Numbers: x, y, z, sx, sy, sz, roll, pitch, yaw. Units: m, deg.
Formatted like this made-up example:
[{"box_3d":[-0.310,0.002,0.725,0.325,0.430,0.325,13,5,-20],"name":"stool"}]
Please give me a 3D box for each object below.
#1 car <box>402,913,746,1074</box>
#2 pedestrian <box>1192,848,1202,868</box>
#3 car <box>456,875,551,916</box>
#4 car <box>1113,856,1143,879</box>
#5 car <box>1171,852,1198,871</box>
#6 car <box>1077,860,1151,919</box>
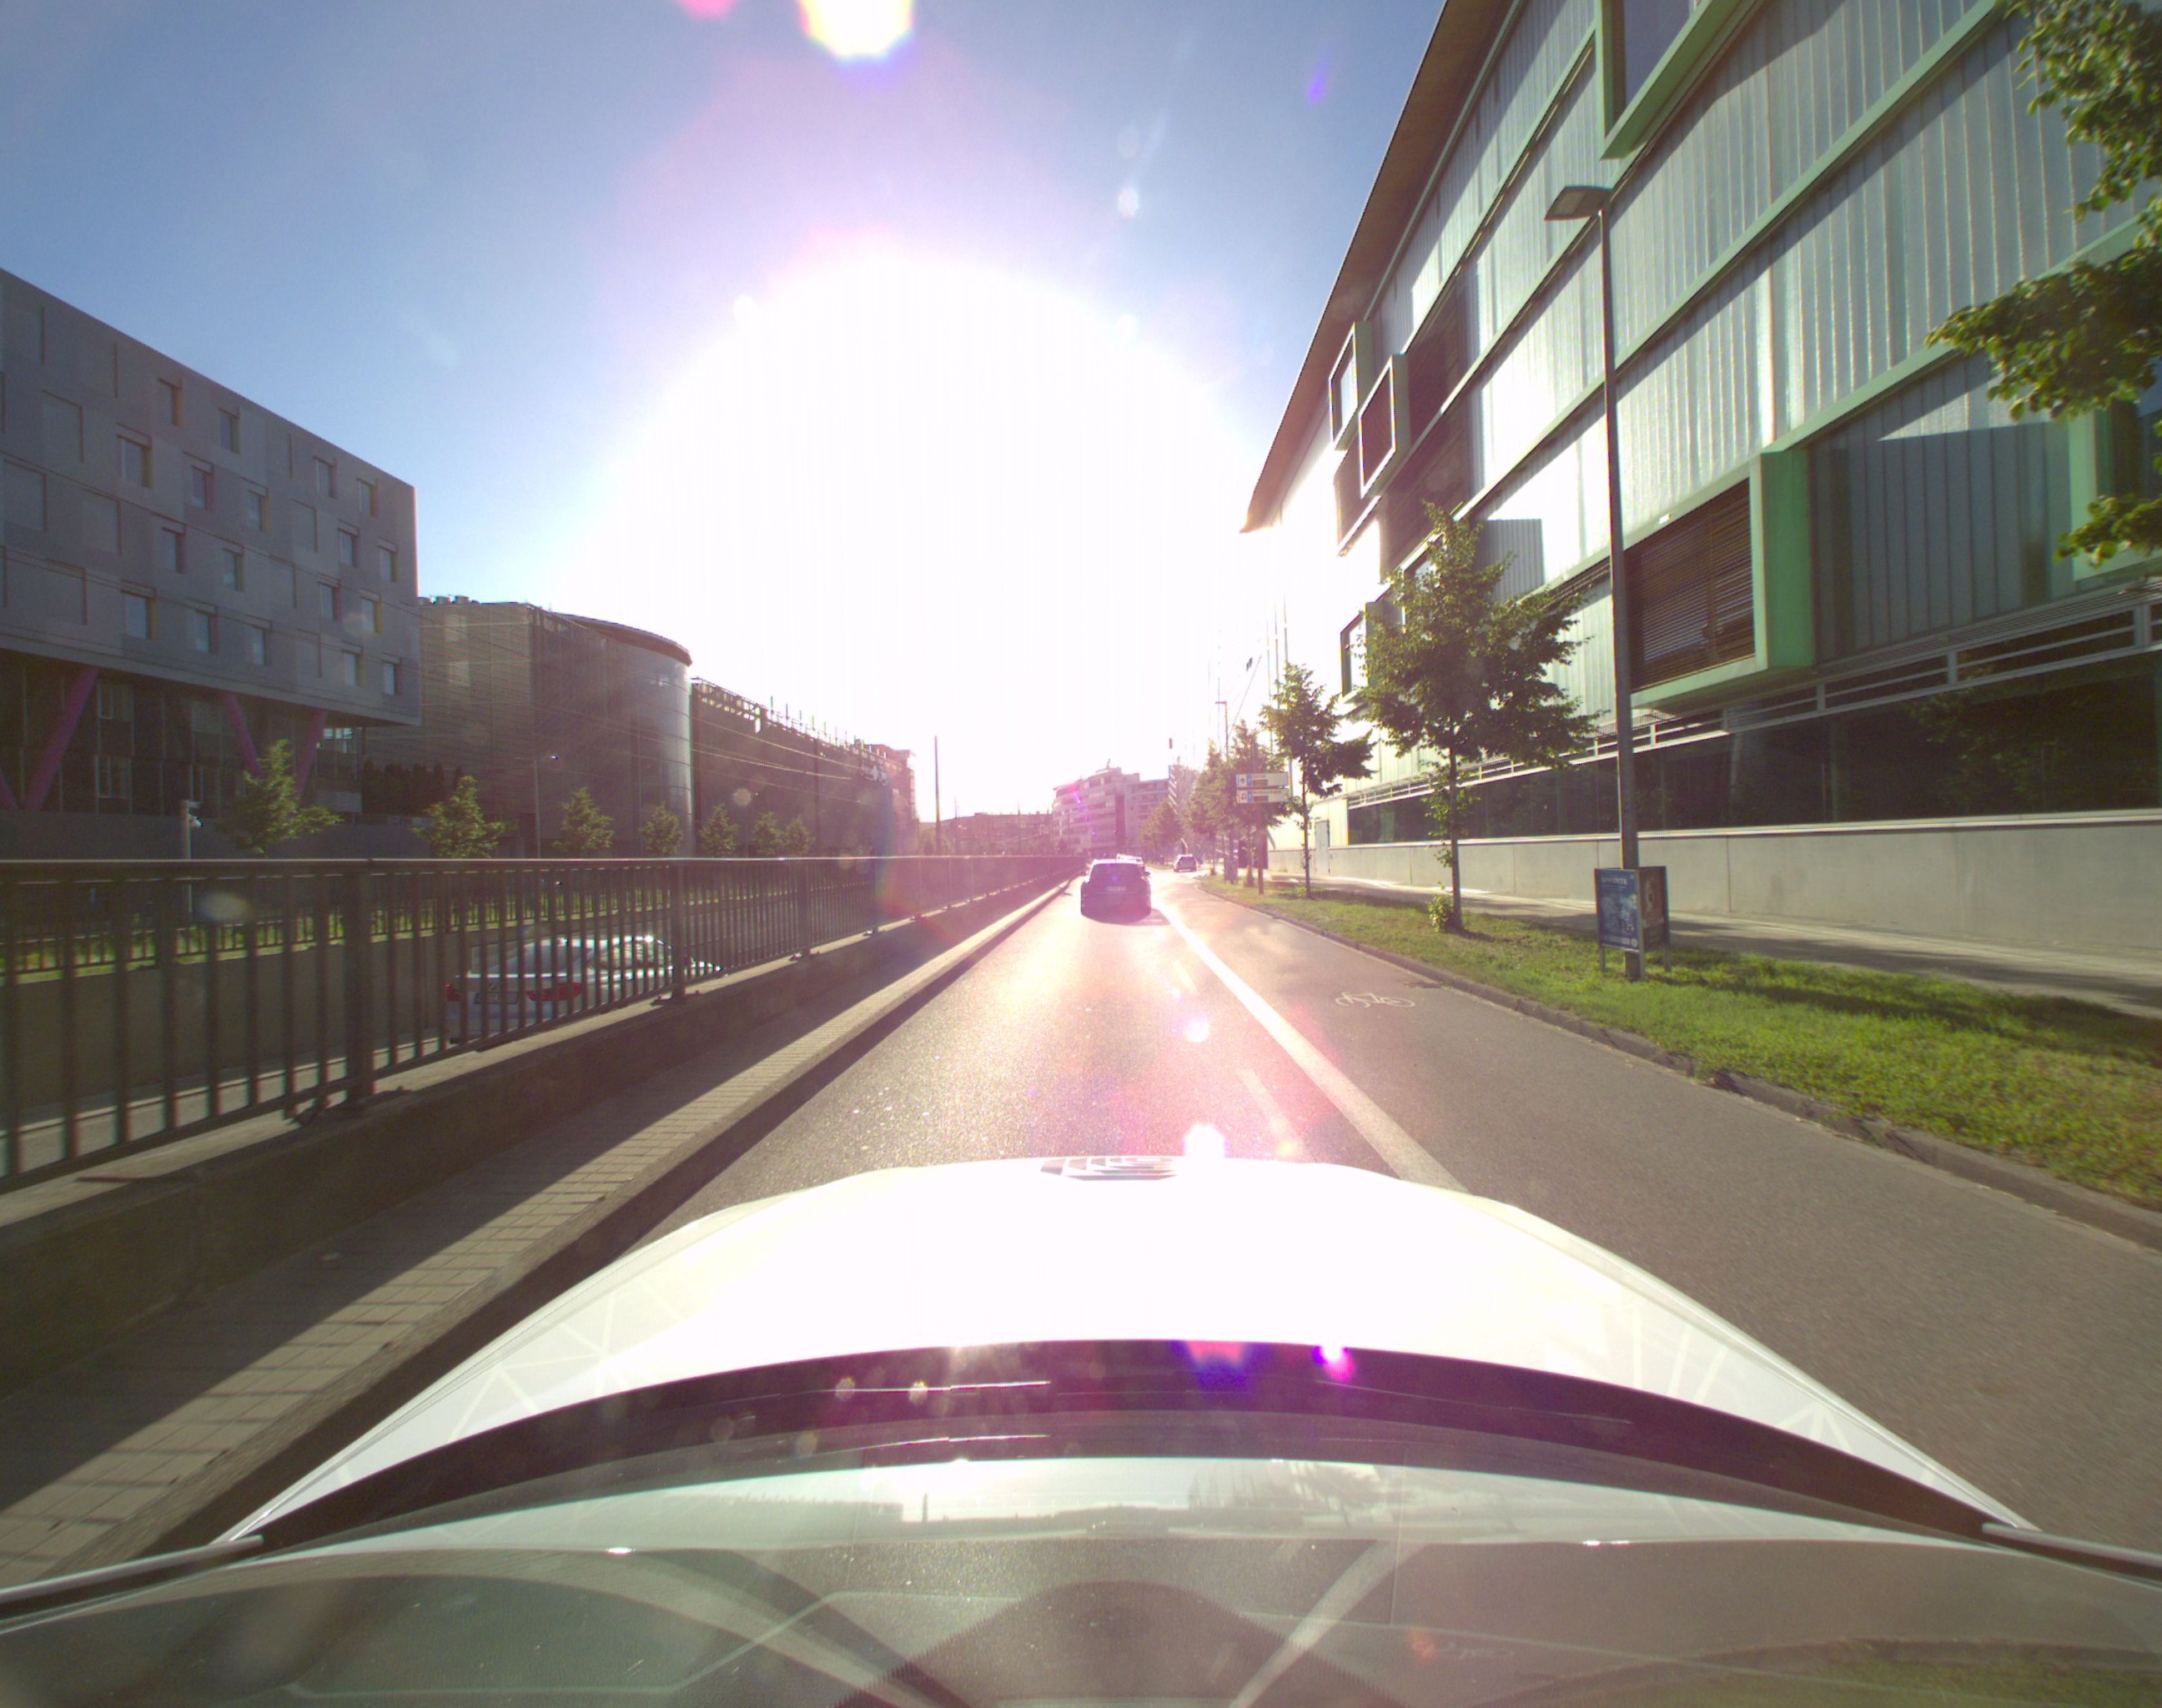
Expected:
[{"box_3d":[-7.023,1.827,12.100,1.791,1.527,4.915,0,0,4],"name":"car"},{"box_3d":[11.918,0.457,83.751,0.833,2.013,0.690,-3,0,2],"name":"pedestrian"},{"box_3d":[-30.118,2.111,42.618,1.986,1.839,4.001,-3,0,1],"name":"car"},{"box_3d":[3.366,0.971,58.616,1.847,1.546,3.998,0,0,-2],"name":"car"},{"box_3d":[9.171,0.628,72.275,1.846,1.481,4.855,-3,0,1],"name":"car"},{"box_3d":[0.889,0.899,22.719,1.806,1.427,4.690,-2,0,1],"name":"car"}]
